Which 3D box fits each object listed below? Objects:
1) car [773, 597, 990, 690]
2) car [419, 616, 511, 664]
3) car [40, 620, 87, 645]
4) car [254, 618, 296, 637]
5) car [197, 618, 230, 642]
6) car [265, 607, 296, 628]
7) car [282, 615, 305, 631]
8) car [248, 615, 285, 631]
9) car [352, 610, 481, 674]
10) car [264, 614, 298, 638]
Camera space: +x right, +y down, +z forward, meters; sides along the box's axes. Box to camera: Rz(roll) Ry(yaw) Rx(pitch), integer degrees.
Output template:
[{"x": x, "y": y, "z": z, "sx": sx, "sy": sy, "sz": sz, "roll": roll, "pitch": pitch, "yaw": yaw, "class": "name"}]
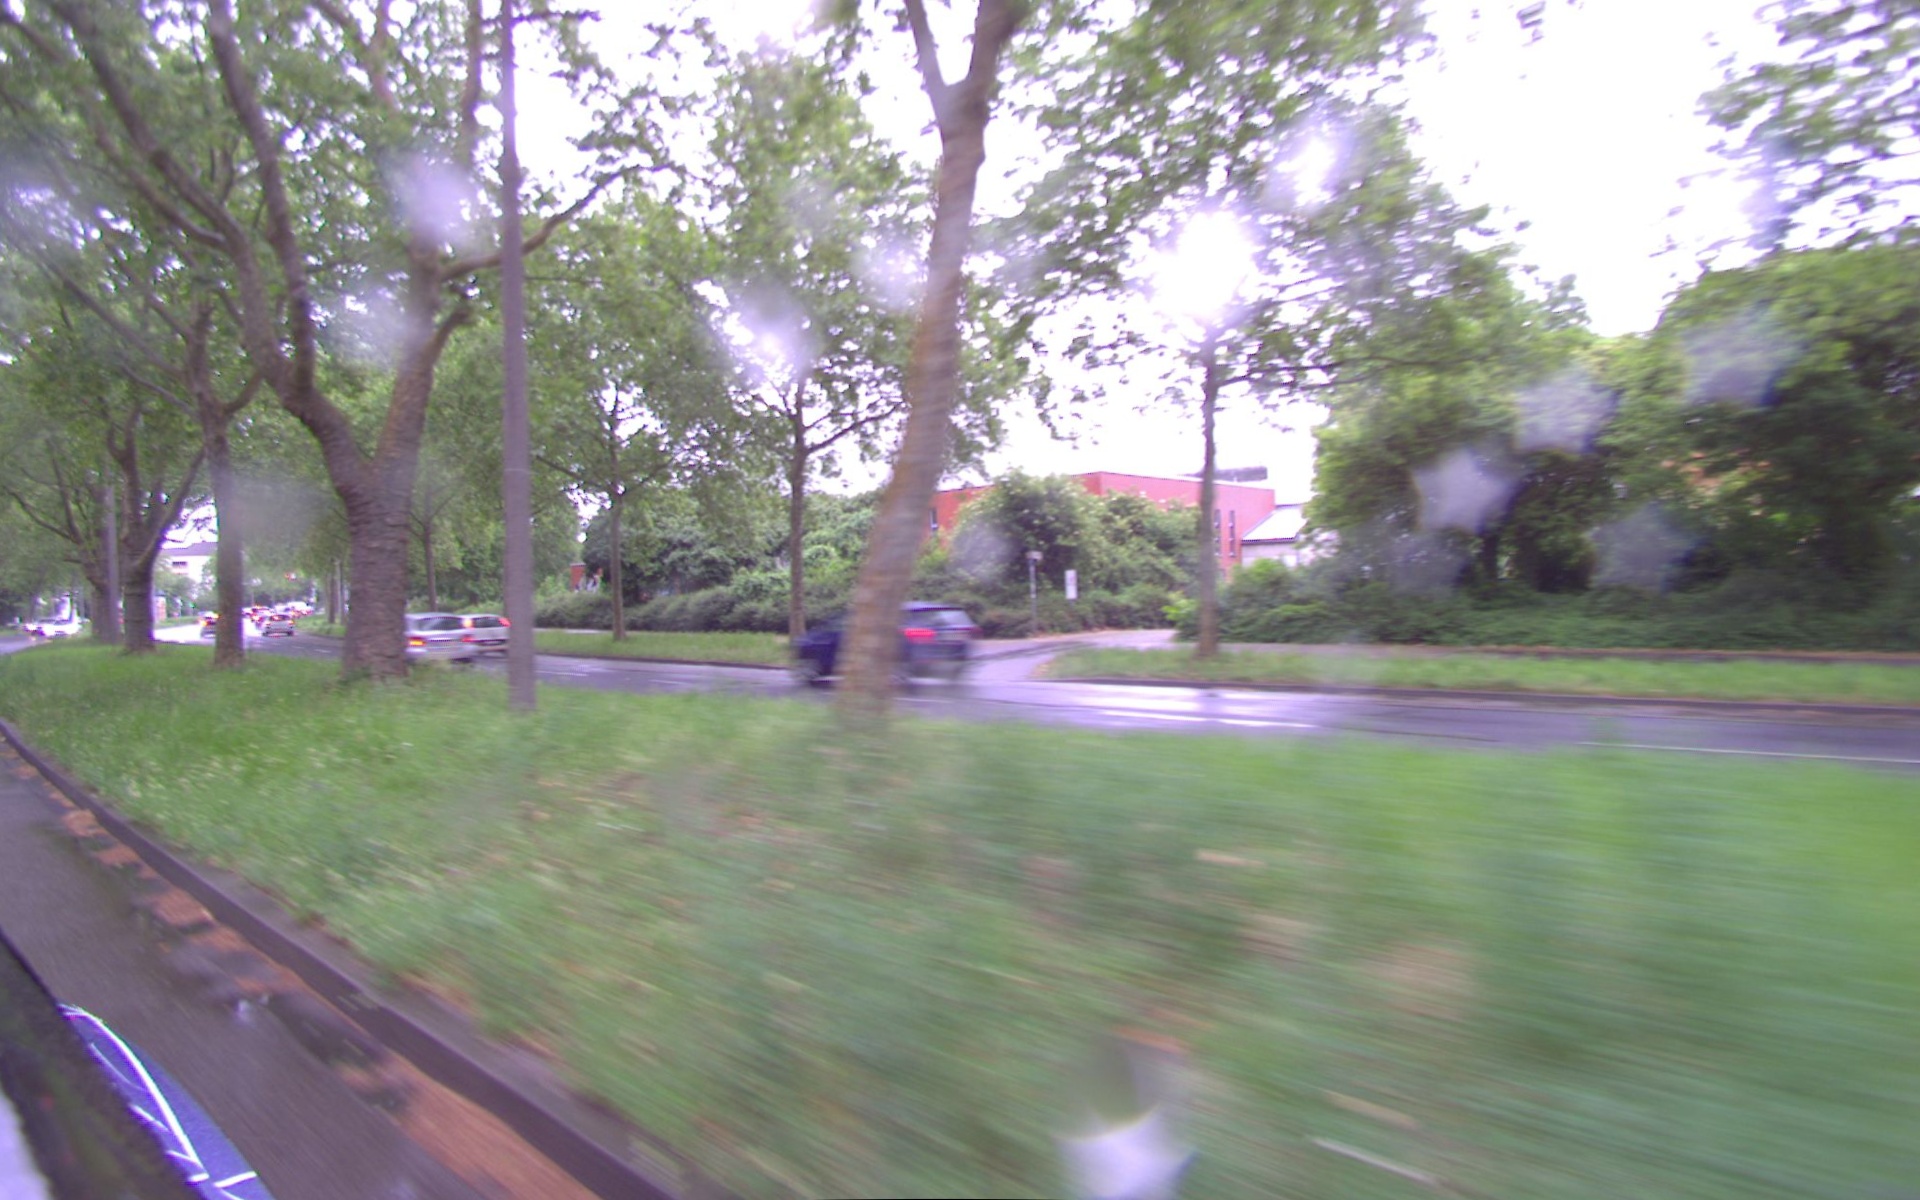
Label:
[{"x": -1.618, "y": 0.808, "z": 20.014, "sx": 4.204, "sy": 1.603, "sz": 1.726, "roll": -1, "pitch": 1, "yaw": 39, "class": "car"}, {"x": -17.106, "y": 1.334, "z": 34.886, "sx": 1.723, "sy": 1.487, "sz": 4.087, "roll": -2, "pitch": 1, "yaw": -43, "class": "car"}, {"x": -66.303, "y": 2.383, "z": 74.913, "sx": 1.967, "sy": 1.641, "sz": 4.534, "roll": -3, "pitch": 1, "yaw": -34, "class": "car"}, {"x": -60.984, "y": 2.416, "z": 90.186, "sx": 1.719, "sy": 1.573, "sz": 4.381, "roll": -2, "pitch": 1, "yaw": -15, "class": "car"}, {"x": -50.652, "y": 1.994, "z": 68.676, "sx": 1.721, "sy": 1.487, "sz": 4.419, "roll": -2, "pitch": 1, "yaw": -37, "class": "car"}, {"x": -76.438, "y": 1.943, "z": 113.952, "sx": 2.001, "sy": 2.243, "sz": 5.452, "roll": -2, "pitch": 1, "yaw": -24, "class": "car"}, {"x": -79.194, "y": 2.735, "z": 120.311, "sx": 1.966, "sy": 1.643, "sz": 4.345, "roll": -3, "pitch": 1, "yaw": -29, "class": "car"}, {"x": -83.752, "y": 2.708, "z": 122.349, "sx": 2.002, "sy": 1.749, "sz": 4.968, "roll": -2, "pitch": 1, "yaw": -14, "class": "car"}, {"x": -15.191, "y": 1.122, "z": 28.177, "sx": 4.328, "sy": 1.603, "sz": 1.725, "roll": -1, "pitch": 1, "yaw": 41, "class": "car"}, {"x": -45.424, "y": 1.739, "z": 67.773, "sx": 1.719, "sy": 1.470, "sz": 3.853, "roll": -2, "pitch": 1, "yaw": -32, "class": "car"}]
